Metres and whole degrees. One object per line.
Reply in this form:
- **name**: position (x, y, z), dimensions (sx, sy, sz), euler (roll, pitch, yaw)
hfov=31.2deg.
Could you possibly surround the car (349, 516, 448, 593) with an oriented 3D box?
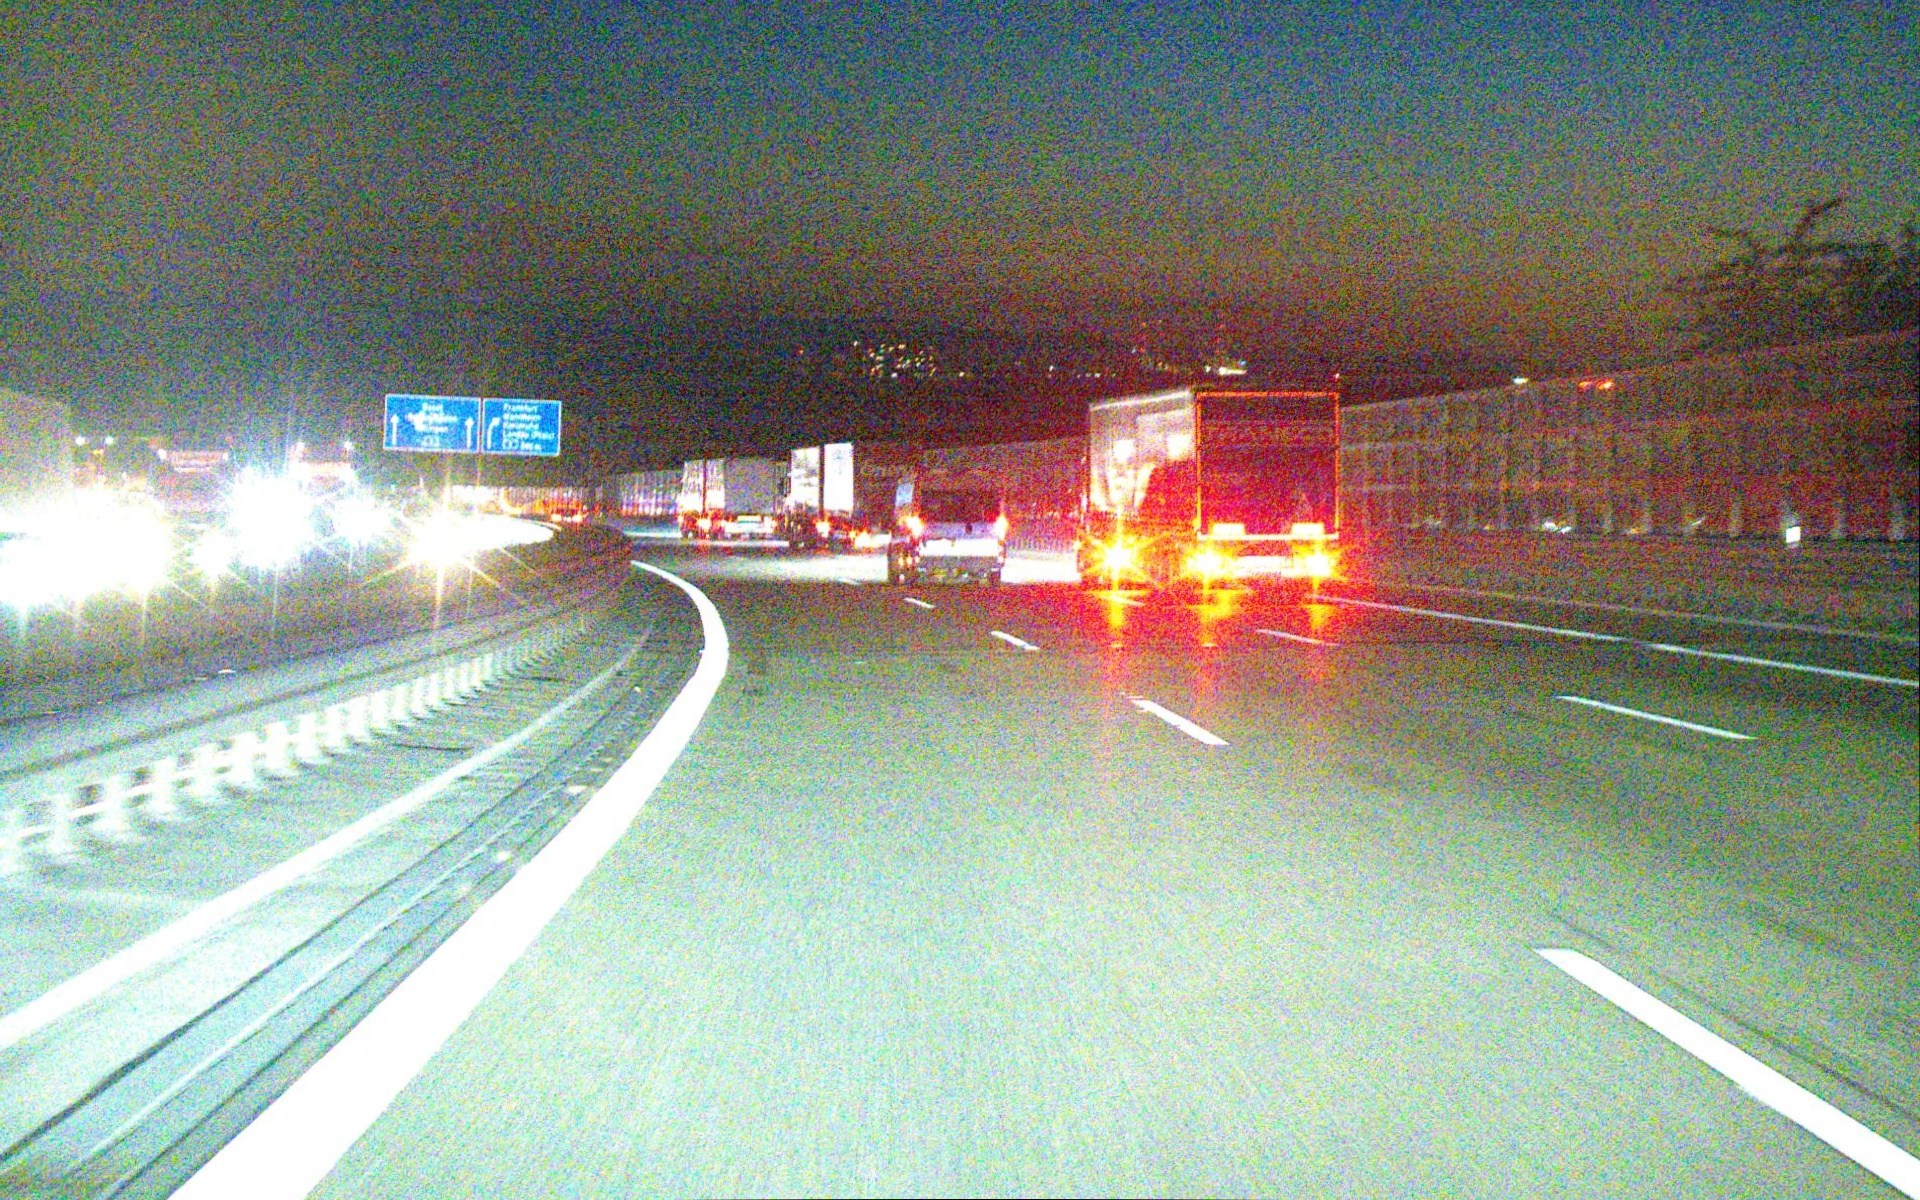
- **car**: position (-12.432, -0.978, 76.363), dimensions (1.626, 1.487, 4.868), euler (2, -1, -3)

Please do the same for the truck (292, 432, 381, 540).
- **truck**: position (-26.013, -4.702, 143.687), dimensions (3.108, 4.083, 7.077), euler (3, 0, -8)

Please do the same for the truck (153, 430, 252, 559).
- **truck**: position (-23.553, -3.298, 107.015), dimensions (2.827, 3.903, 4.936), euler (-1, 2, -11)

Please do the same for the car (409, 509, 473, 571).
- **car**: position (-16.308, -1.885, 108.152), dimensions (1.875, 1.916, 5.605), euler (0, 1, -7)

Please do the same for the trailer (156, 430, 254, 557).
- **trailer**: position (-24.382, -3.452, 111.267), dimensions (2.819, 3.904, 8.742), euler (-1, 2, -11)

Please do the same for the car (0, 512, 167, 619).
- **car**: position (-13.231, -0.520, 50.702), dimensions (1.903, 1.487, 5.260), euler (0, 1, -1)

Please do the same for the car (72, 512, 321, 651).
- **car**: position (-8.593, -0.235, 39.092), dimensions (1.903, 1.487, 4.868), euler (0, 1, -2)

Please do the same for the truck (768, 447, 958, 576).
- **truck**: position (-4.064, -3.323, 134.146), dimensions (3.914, 4.611, 21.024), euler (-1, 1, -11)

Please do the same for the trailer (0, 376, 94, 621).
- **trailer**: position (-19.044, -1.798, 64.947), dimensions (2.839, 4.449, 14.526), euler (-5, 2, -6)

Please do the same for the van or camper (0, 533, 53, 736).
- **van or camper**: position (-7.748, 0.260, 23.719), dimensions (1.739, 1.460, 4.868), euler (0, 1, -1)

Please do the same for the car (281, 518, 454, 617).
- **car**: position (-9.217, -0.522, 53.851), dimensions (1.903, 1.487, 4.868), euler (0, 1, -1)

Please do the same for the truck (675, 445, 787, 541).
- **truck**: position (-11.686, -5.392, 173.915), dimensions (3.343, 4.460, 13.914), euler (3, 1, -13)

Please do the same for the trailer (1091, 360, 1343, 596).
- **trailer**: position (4.675, -2.266, 65.755), dimensions (2.853, 4.053, 13.208), euler (0, 1, -4)

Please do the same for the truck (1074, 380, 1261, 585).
- **truck**: position (4.224, -2.418, 71.751), dimensions (2.861, 4.063, 7.512), euler (0, 1, -5)

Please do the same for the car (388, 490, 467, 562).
- **car**: position (-14.551, -2.023, 94.167), dimensions (1.875, 1.916, 4.869), euler (0, 1, -6)

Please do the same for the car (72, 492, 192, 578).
- **car**: position (-20.837, -1.610, 86.721), dimensions (1.903, 1.880, 5.021), euler (2, -1, -2)

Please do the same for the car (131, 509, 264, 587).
- **car**: position (-14.859, -1.017, 67.235), dimensions (1.903, 1.487, 4.868), euler (0, 1, -5)

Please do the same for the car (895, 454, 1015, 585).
- **car**: position (-0.158, -1.687, 74.293), dimensions (2.337, 2.631, 5.248), euler (2, 0, -2)
